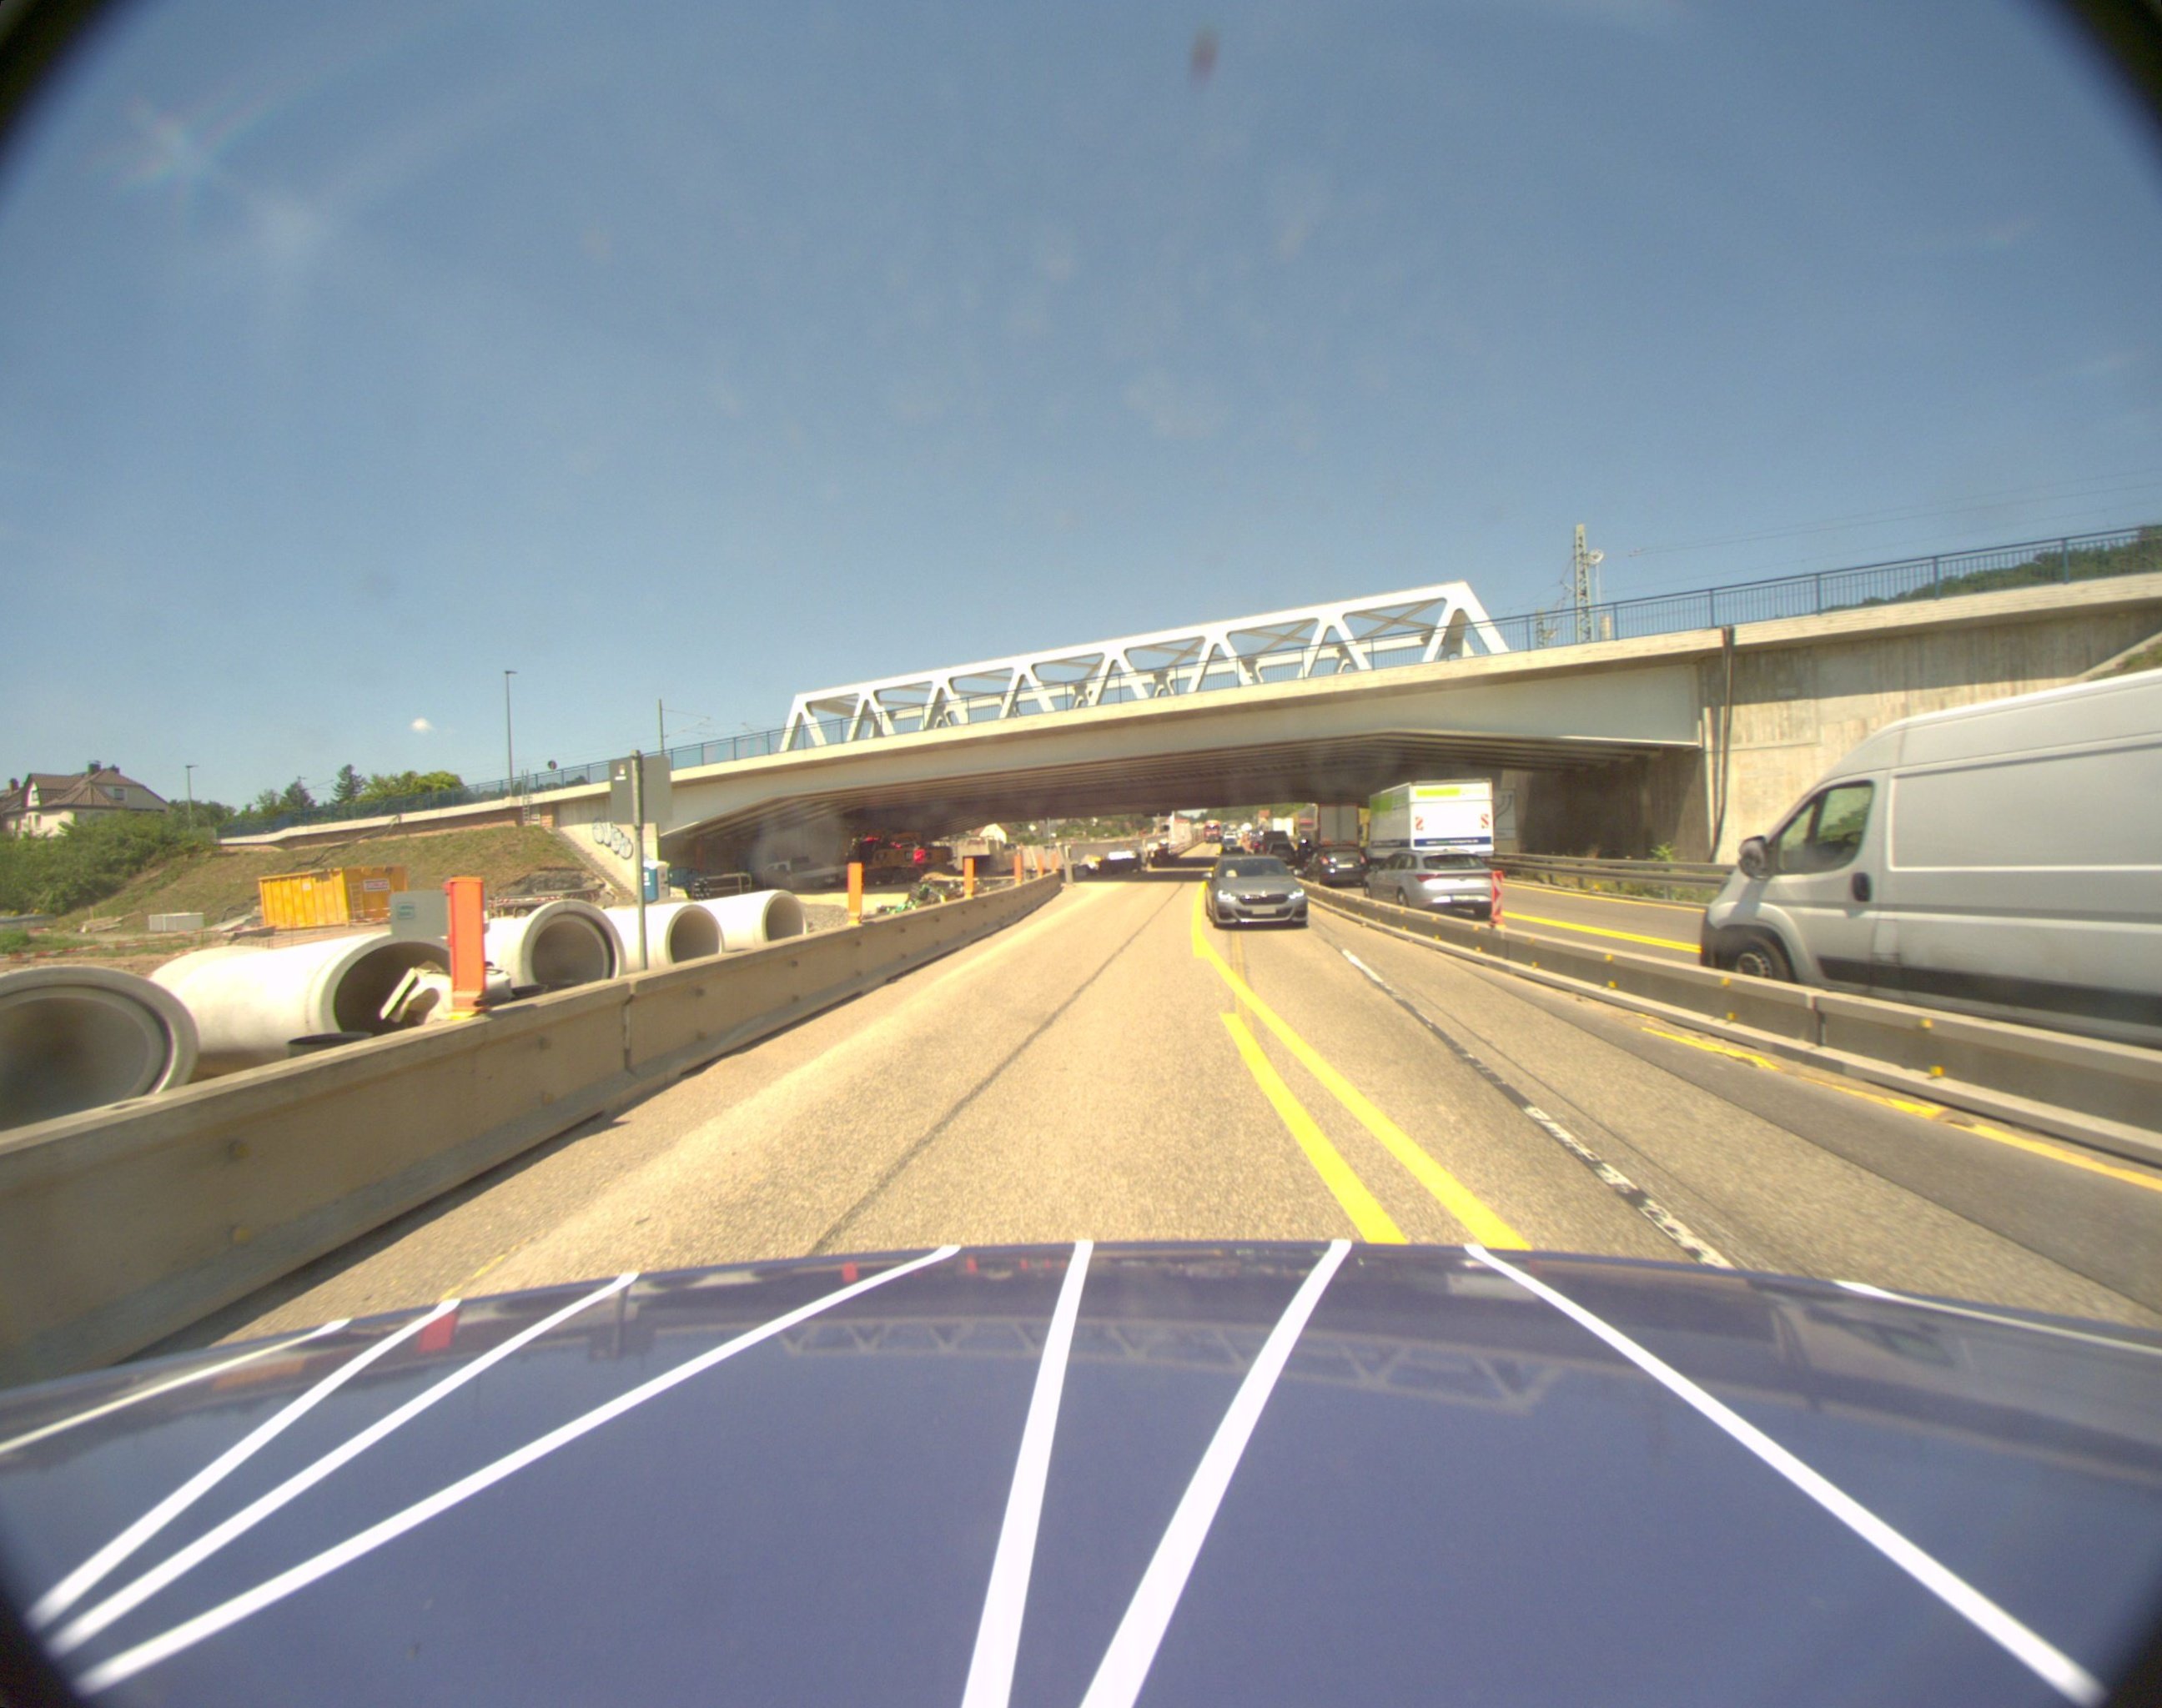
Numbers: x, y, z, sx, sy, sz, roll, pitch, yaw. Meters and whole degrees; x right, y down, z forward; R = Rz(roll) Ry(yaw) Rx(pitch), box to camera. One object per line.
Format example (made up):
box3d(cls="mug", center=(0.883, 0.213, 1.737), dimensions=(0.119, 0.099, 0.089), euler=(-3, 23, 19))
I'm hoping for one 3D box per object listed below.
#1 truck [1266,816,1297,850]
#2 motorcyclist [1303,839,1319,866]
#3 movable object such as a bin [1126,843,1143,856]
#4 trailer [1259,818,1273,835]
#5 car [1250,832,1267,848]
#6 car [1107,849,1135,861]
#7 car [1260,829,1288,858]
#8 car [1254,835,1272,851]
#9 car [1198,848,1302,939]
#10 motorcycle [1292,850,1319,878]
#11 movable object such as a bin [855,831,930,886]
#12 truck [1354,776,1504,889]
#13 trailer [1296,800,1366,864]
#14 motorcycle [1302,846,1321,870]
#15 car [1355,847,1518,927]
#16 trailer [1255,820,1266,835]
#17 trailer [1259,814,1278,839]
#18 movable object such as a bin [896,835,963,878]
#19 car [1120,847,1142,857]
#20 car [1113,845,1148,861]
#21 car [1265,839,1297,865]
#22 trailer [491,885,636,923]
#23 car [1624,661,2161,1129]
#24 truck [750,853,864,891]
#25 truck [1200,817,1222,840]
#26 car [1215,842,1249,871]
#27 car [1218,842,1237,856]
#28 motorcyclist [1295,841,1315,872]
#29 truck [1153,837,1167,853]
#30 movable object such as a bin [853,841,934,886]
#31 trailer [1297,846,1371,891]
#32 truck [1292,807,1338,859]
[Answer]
box3d(cls="truck", center=(27.295, -3.023, 103.897), dimensions=(2.774, 4.290, 13.494), euler=(-2, 3, 10))
box3d(cls="motorcyclist", center=(12.777, -0.096, 42.169), dimensions=(0.719, 1.408, 0.743), euler=(-2, 3, 9))
box3d(cls="movable object such as a bin", center=(12.666, -0.998, 179.332), dimensions=(3.263, 2.770, 4.003), euler=(-1, 3, 17))
box3d(cls="trailer", center=(44.761, -6.629, 183.626), dimensions=(2.659, 3.795, 11.829), euler=(-1, 3, 16))
box3d(cls="car", center=(23.224, -1.861, 99.675), dimensions=(1.803, 1.922, 4.970), euler=(-2, 2, 10))
box3d(cls="car", center=(7.258, 0.183, 139.208), dimensions=(4.797, 1.759, 1.721), euler=(-3, 1, 12))
box3d(cls="car", center=(16.244, -0.932, 64.161), dimensions=(1.984, 2.317, 6.062), euler=(-2, 2, 12))
box3d(cls="car", center=(19.597, -1.221, 81.749), dimensions=(1.751, 1.600, 4.144), euler=(-2, 2, 12))
box3d(cls="car", center=(3.581, 0.722, 16.147), dimensions=(1.836, 1.588, 4.393), euler=(-2, 1, 13))
box3d(cls="motorcycle", center=(10.636, 0.453, 36.090), dimensions=(0.834, 1.143, 2.792), euler=(-2, 2, 9))
box3d(cls="movable object such as a bin", center=(-13.243, 0.287, 53.474), dimensions=(3.885, 3.523, 2.906), euler=(-3, 3, 22))
box3d(cls="truck", center=(12.870, -0.752, 29.020), dimensions=(2.822, 3.555, 8.502), euler=(-2, 1, 8))
box3d(cls="trailer", center=(18.359, -1.579, 56.828), dimensions=(2.882, 4.016, 14.366), euler=(-3, 1, 11))
box3d(cls="motorcycle", center=(12.755, 0.196, 42.153), dimensions=(0.704, 1.272, 2.736), euler=(-2, 1, 11))
box3d(cls="car", center=(7.614, 0.626, 16.806), dimensions=(1.848, 1.455, 4.525), euler=(-2, 1, 6))
box3d(cls="trailer", center=(50.395, -7.589, 213.631), dimensions=(2.604, 3.849, 11.278), euler=(-2, 3, 12))
box3d(cls="trailer", center=(33.587, -5.006, 136.542), dimensions=(2.817, 4.151, 8.246), euler=(-2, 3, 11))
box3d(cls="movable object such as a bin", center=(-12.942, 0.226, 65.012), dimensions=(4.560, 3.269, 2.992), euler=(-3, 3, 15))
box3d(cls="car", center=(9.352, -0.362, 142.212), dimensions=(3.867, 1.676, 1.693), euler=(-4, 2, 6))
box3d(cls="car", center=(9.528, -0.179, 145.605), dimensions=(6.303, 2.566, 2.054), euler=(-5, 1, -2))
box3d(cls="car", center=(13.460, -0.166, 51.256), dimensions=(1.749, 1.661, 4.081), euler=(-2, 1, 11))
box3d(cls="trailer", center=(-20.873, 2.018, 30.737), dimensions=(4.721, 1.213, 2.056), euler=(-2, 3, 11))
box3d(cls="car", center=(6.780, 0.176, 4.816), dimensions=(2.076, 2.489, 6.482), euler=(-2, 1, 1))
box3d(cls="truck", center=(-17.735, 1.147, 49.282), dimensions=(6.531, 2.061, 2.668), euler=(-3, 1, 15))
box3d(cls="truck", center=(23.994, -4.764, 139.732), dimensions=(3.460, 4.025, 10.215), euler=(-2, 3, 12))
box3d(cls="car", center=(9.113, 0.110, 45.676), dimensions=(1.836, 1.465, 4.392), euler=(-2, 2, 13))
box3d(cls="car", center=(17.218, -0.630, 89.368), dimensions=(1.800, 1.543, 4.001), euler=(-2, 1, 6))
box3d(cls="motorcyclist", center=(10.613, 0.119, 36.044), dimensions=(0.812, 1.408, 0.743), euler=(-2, 3, 9))
box3d(cls="truck", center=(17.407, -2.009, 167.669), dimensions=(2.502, 3.386, 5.438), euler=(-2, 3, 12))
box3d(cls="movable object such as a bin", center=(-14.236, 0.694, 57.873), dimensions=(5.247, 3.040, 2.498), euler=(-3, 3, 15))
box3d(cls="trailer", center=(9.130, 0.462, 27.677), dimensions=(1.668, 1.423, 4.001), euler=(-2, 1, 5))
box3d(cls="truck", center=(19.673, -1.734, 64.030), dimensions=(2.879, 4.028, 4.887), euler=(-3, 1, 9))
